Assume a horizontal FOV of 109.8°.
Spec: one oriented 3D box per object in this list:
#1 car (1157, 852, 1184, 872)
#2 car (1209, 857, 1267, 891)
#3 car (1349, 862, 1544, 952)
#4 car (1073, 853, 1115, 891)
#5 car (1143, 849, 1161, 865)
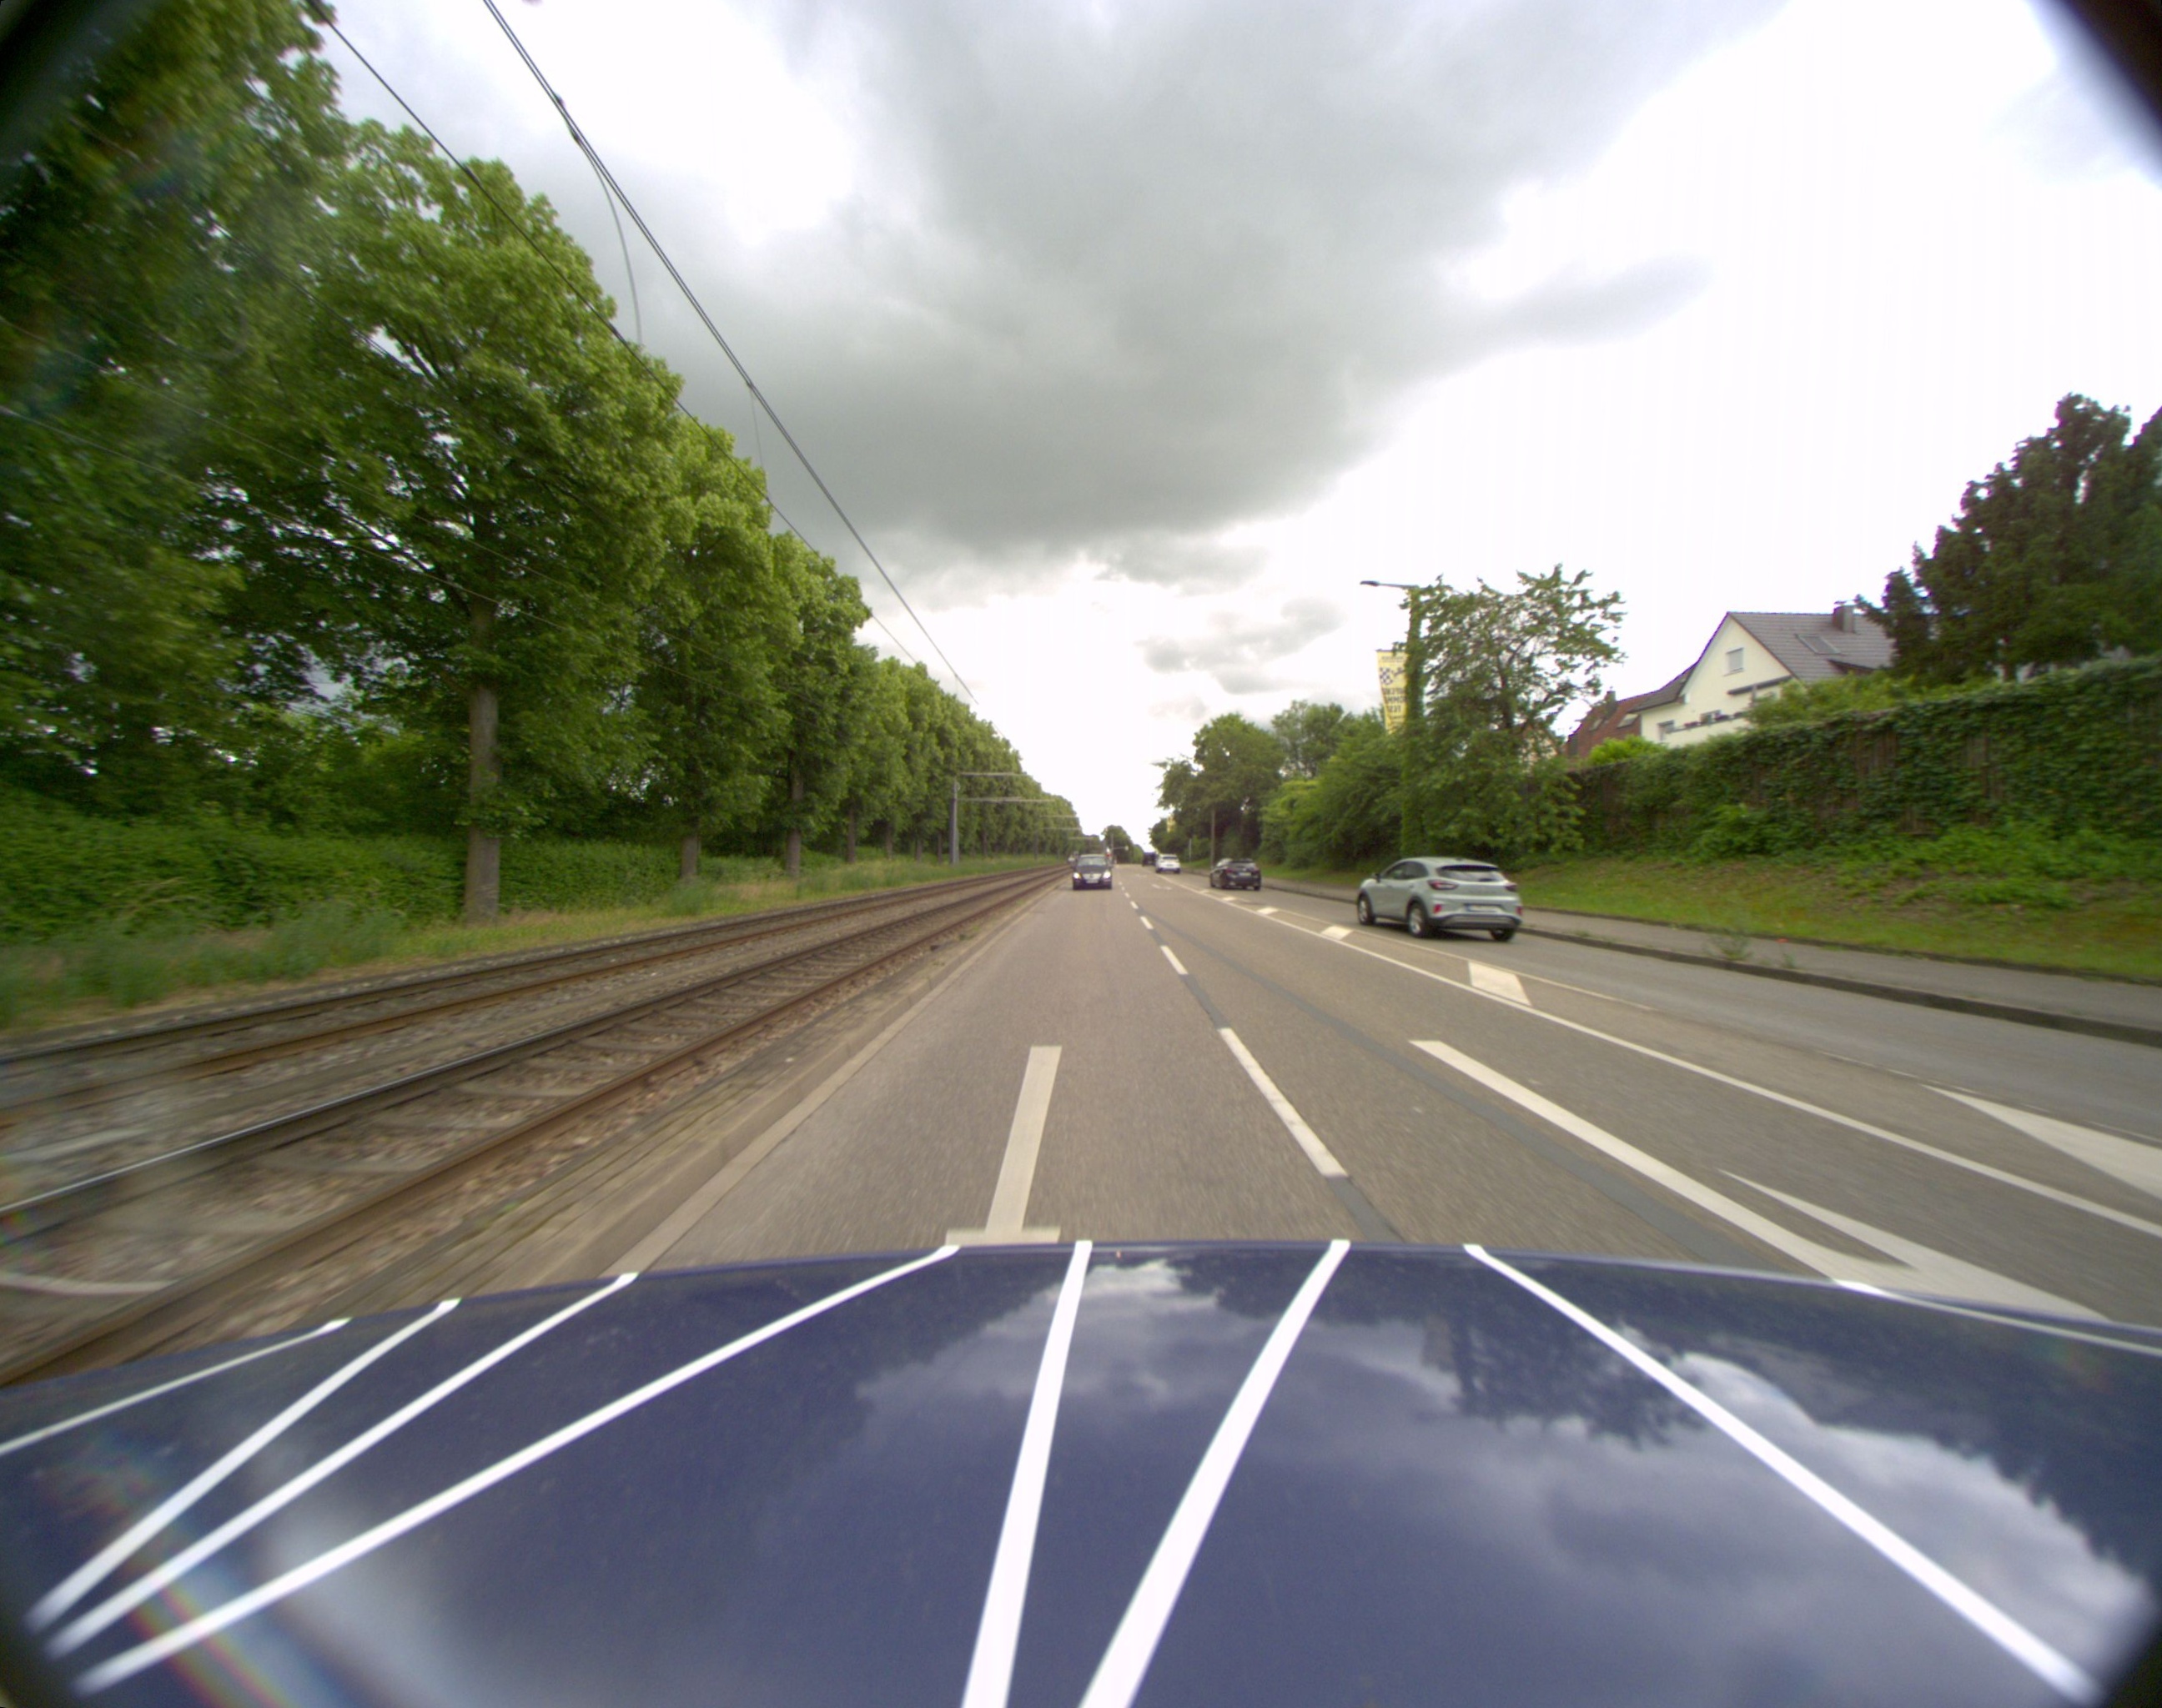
[{"bbox_3d":[7.662,0.702,65.442,1.846,1.611,4.159,1,0,1],"label":"car"},{"bbox_3d":[7.260,0.904,35.444,1.770,1.392,4.215,2,0,0],"label":"car"},{"bbox_3d":[7.058,0.939,15.207,1.831,1.448,4.142,2,0,0],"label":"car"},{"bbox_3d":[0.581,0.767,33.921,1.749,1.558,4.121,0,0,1],"label":"car"},{"bbox_3d":[9.777,0.392,104.778,1.998,2.024,5.116,0,0,1],"label":"car"}]
